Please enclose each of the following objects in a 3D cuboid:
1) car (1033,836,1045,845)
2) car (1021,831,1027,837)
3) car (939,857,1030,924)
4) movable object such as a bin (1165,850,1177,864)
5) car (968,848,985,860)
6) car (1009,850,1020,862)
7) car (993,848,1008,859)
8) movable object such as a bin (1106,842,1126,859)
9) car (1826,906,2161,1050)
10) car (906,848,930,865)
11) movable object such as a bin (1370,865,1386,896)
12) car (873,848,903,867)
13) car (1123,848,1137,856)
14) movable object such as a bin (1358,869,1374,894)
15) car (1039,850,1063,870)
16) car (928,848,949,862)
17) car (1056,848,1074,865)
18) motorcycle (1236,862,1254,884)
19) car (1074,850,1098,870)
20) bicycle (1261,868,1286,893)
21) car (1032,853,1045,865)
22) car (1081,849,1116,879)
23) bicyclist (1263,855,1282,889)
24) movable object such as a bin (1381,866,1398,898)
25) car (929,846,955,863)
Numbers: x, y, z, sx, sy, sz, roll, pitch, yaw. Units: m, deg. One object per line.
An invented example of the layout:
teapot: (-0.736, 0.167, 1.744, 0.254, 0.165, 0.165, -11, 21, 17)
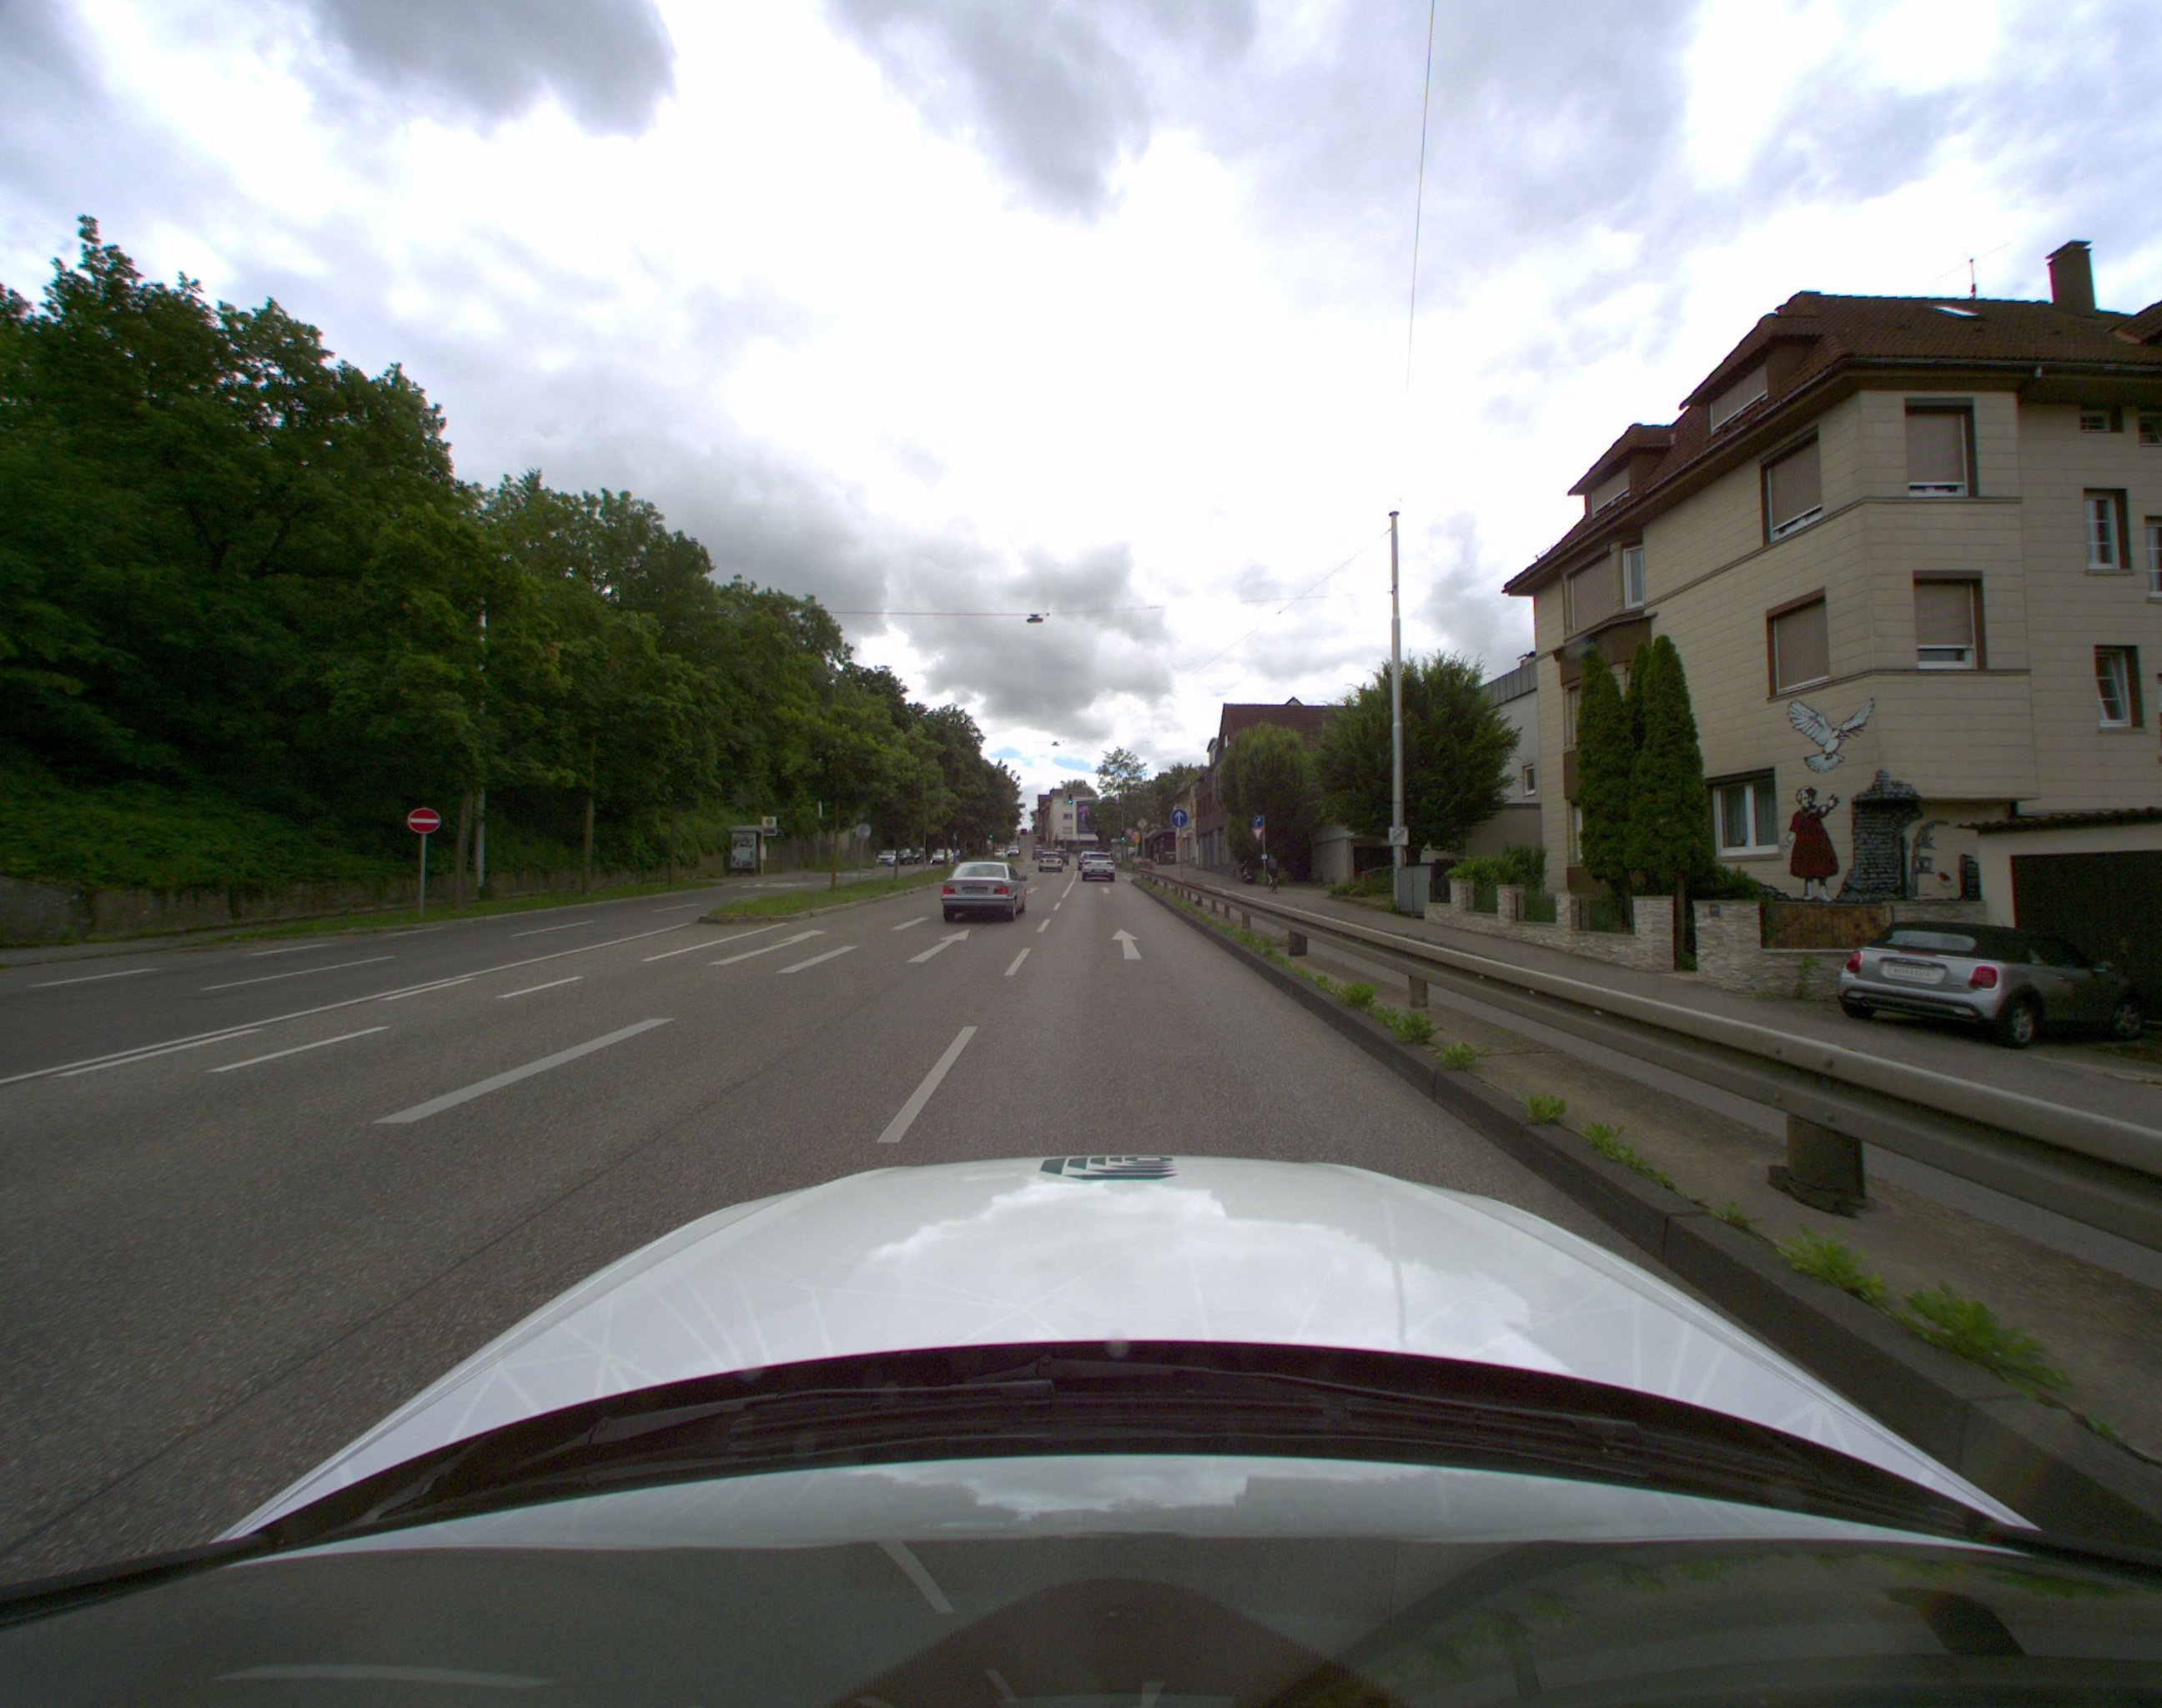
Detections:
car: (-9.982, -3.301, 194.804, 2.501, 2.013, 5.182, 1, 1, 1)
car: (-17.240, -6.008, 246.106, 1.819, 1.508, 3.995, 1, 1, -4)
car: (-2.257, 0.814, 20.171, 1.629, 1.382, 4.620, 1, 0, 1)
movable object such as a bin: (9.776, 0.339, 88.454, 1.192, 1.408, 0.711, 1, 0, -1)
car: (-14.528, -0.061, 113.559, 1.855, 1.541, 4.277, 1, 1, -2)
car: (-11.299, 0.331, 138.706, 1.663, 1.865, 3.243, -2, 1, -1)
car: (-11.670, -0.084, 118.598, 1.855, 1.541, 4.277, 1, 1, -2)
movable object such as a bin: (3.926, -0.362, 91.397, 1.891, 1.870, 1.524, 1, 1, -9)
car: (12.210, 1.540, 10.891, 3.610, 1.434, 1.695, -1, 1, -16)
car: (-17.438, 0.276, 87.310, 1.855, 1.670, 4.277, 1, 1, -2)
movable object such as a bin: (12.828, 1.144, 35.155, 0.493, 1.272, 0.538, 1, 1, 1)
car: (-18.229, 0.336, 77.097, 1.855, 1.670, 4.277, 1, 1, -2)
car: (8.978, -0.370, 148.952, 1.708, 1.376, 3.474, -3, -1, 20)
movable object such as a bin: (12.286, 1.173, 35.155, 0.493, 1.057, 0.538, 1, 1, 1)
car: (-2.214, 0.466, 60.375, 1.718, 1.376, 3.454, -3, 0, -2)
car: (-17.355, 0.148, 99.369, 1.855, 1.593, 4.277, 1, 1, -2)
car: (-1.692, 0.223, 84.423, 1.718, 1.640, 3.453, -3, -1, -2)
motorcycle: (9.225, 1.037, 45.760, 0.606, 1.162, 2.041, -2, 1, 1)
car: (0.346, 0.464, 63.555, 1.718, 1.376, 3.455, -3, 0, -1)
bicycle: (8.973, 1.238, 38.038, 0.565, 1.063, 2.004, -3, 1, -2)
car: (-6.126, 0.719, 116.737, 1.718, 1.583, 3.453, -3, -1, -2)
car: (0.958, 0.551, 44.990, 1.791, 1.519, 3.457, -3, -1, 1)
bicyclist: (8.940, 0.818, 37.985, 0.565, 1.525, 0.958, -3, 0, -2)
movable object such as a bin: (13.377, 1.205, 35.296, 0.493, 1.363, 0.538, 1, 1, 1)
car: (-14.654, 0.004, 86.201, 1.852, 1.670, 4.282, 1, 1, 2)
